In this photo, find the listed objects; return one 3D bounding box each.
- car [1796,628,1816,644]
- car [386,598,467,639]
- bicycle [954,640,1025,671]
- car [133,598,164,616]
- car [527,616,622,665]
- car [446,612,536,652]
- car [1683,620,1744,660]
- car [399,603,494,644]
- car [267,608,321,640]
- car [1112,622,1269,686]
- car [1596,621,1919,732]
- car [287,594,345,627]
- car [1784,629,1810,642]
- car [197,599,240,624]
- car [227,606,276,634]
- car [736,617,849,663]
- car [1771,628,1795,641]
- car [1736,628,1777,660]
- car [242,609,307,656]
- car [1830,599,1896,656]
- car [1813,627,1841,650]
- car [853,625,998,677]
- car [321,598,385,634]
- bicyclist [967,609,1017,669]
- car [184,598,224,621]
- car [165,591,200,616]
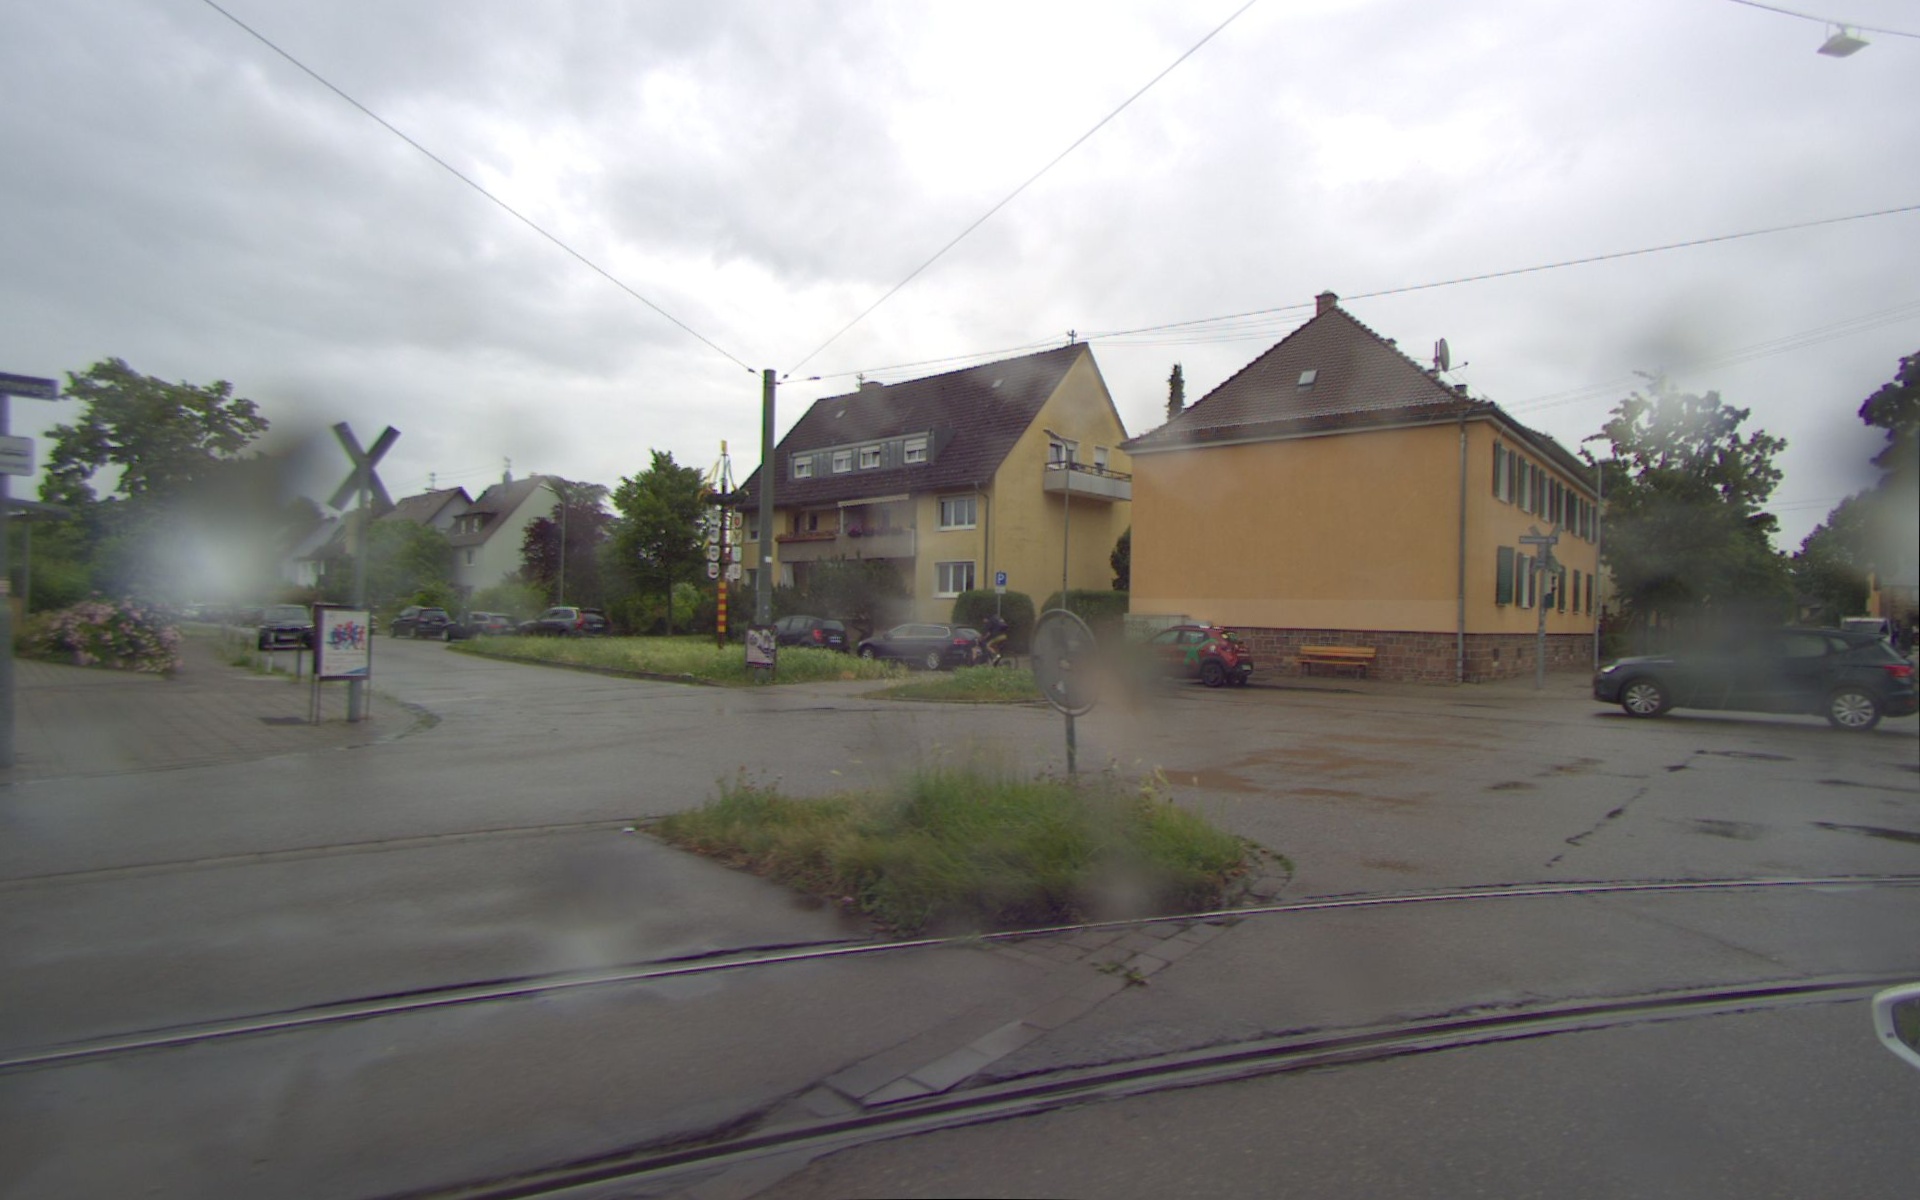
[{"bbox_3d":[109.373,4.640,129.855,1.806,2.040,3.982,3,1,40],"label":"car"},{"bbox_3d":[-26.640,0.916,50.139,3.934,1.818,1.993,3,1,36],"label":"car"},{"bbox_3d":[0.818,1.543,27.988,1.793,0.797,0.938,-1,-2,41],"label":"bicycle"},{"bbox_3d":[-89.044,0.754,110.211,3.942,1.818,1.990,3,1,42],"label":"car"},{"bbox_3d":[-16.721,1.699,43.530,3.934,1.818,1.993,3,1,36],"label":"car"},{"bbox_3d":[-21.829,1.455,46.703,4.058,1.595,1.994,3,1,35],"label":"car"},{"bbox_3d":[33.513,1.764,44.622,1.970,1.639,3.982,1,-1,40],"label":"car"},{"bbox_3d":[-20.006,0.889,39.076,3.941,1.496,1.990,0,-1,41],"label":"car"},{"bbox_3d":[-43.891,1.569,66.189,3.941,1.818,1.990,3,1,41],"label":"car"},{"bbox_3d":[5.946,1.351,26.074,3.562,1.357,1.715,3,1,40],"label":"car"},{"bbox_3d":[12.638,1.119,16.064,3.941,1.496,1.990,0,-1,41],"label":"car"},{"bbox_3d":[-40.008,0.623,62.406,3.941,1.818,1.990,3,1,41],"label":"car"},{"bbox_3d":[120.237,5.035,144.359,1.800,1.720,4.028,3,1,26],"label":"car"},{"bbox_3d":[-60.360,0.957,81.695,3.941,1.818,1.990,3,1,41],"label":"car"},{"bbox_3d":[-51.553,1.442,73.080,3.941,1.818,1.990,3,1,41],"label":"car"},{"bbox_3d":[-5.913,1.374,35.316,3.939,1.350,1.752,3,1,40],"label":"car"},{"bbox_3d":[122.541,5.101,149.599,1.800,1.720,4.028,3,1,26],"label":"car"},{"bbox_3d":[56.245,3.095,70.910,1.971,2.040,3.979,3,1,42],"label":"car"},{"bbox_3d":[-25.285,1.178,37.012,1.773,1.482,3.957,2,1,-37],"label":"car"},{"bbox_3d":[44.808,1.370,49.929,2.127,2.607,4.115,3,1,40],"label":"car"},{"bbox_3d":[80.928,3.587,93.758,1.806,2.040,3.982,3,1,40],"label":"car"},{"bbox_3d":[-1.139,1.555,31.815,4.438,1.414,1.958,1,-1,41],"label":"car"},{"bbox_3d":[-34.577,0.921,57.202,3.941,1.818,1.990,3,1,41],"label":"car"},{"bbox_3d":[0.891,1.084,27.925,1.027,1.619,0.945,0,-2,41],"label":"bicyclist"},{"bbox_3d":[-63.843,0.817,84.803,3.941,1.717,1.937,3,1,41],"label":"car"},{"bbox_3d":[-72.780,0.316,94.032,3.943,2.061,1.989,3,1,43],"label":"car"}]
